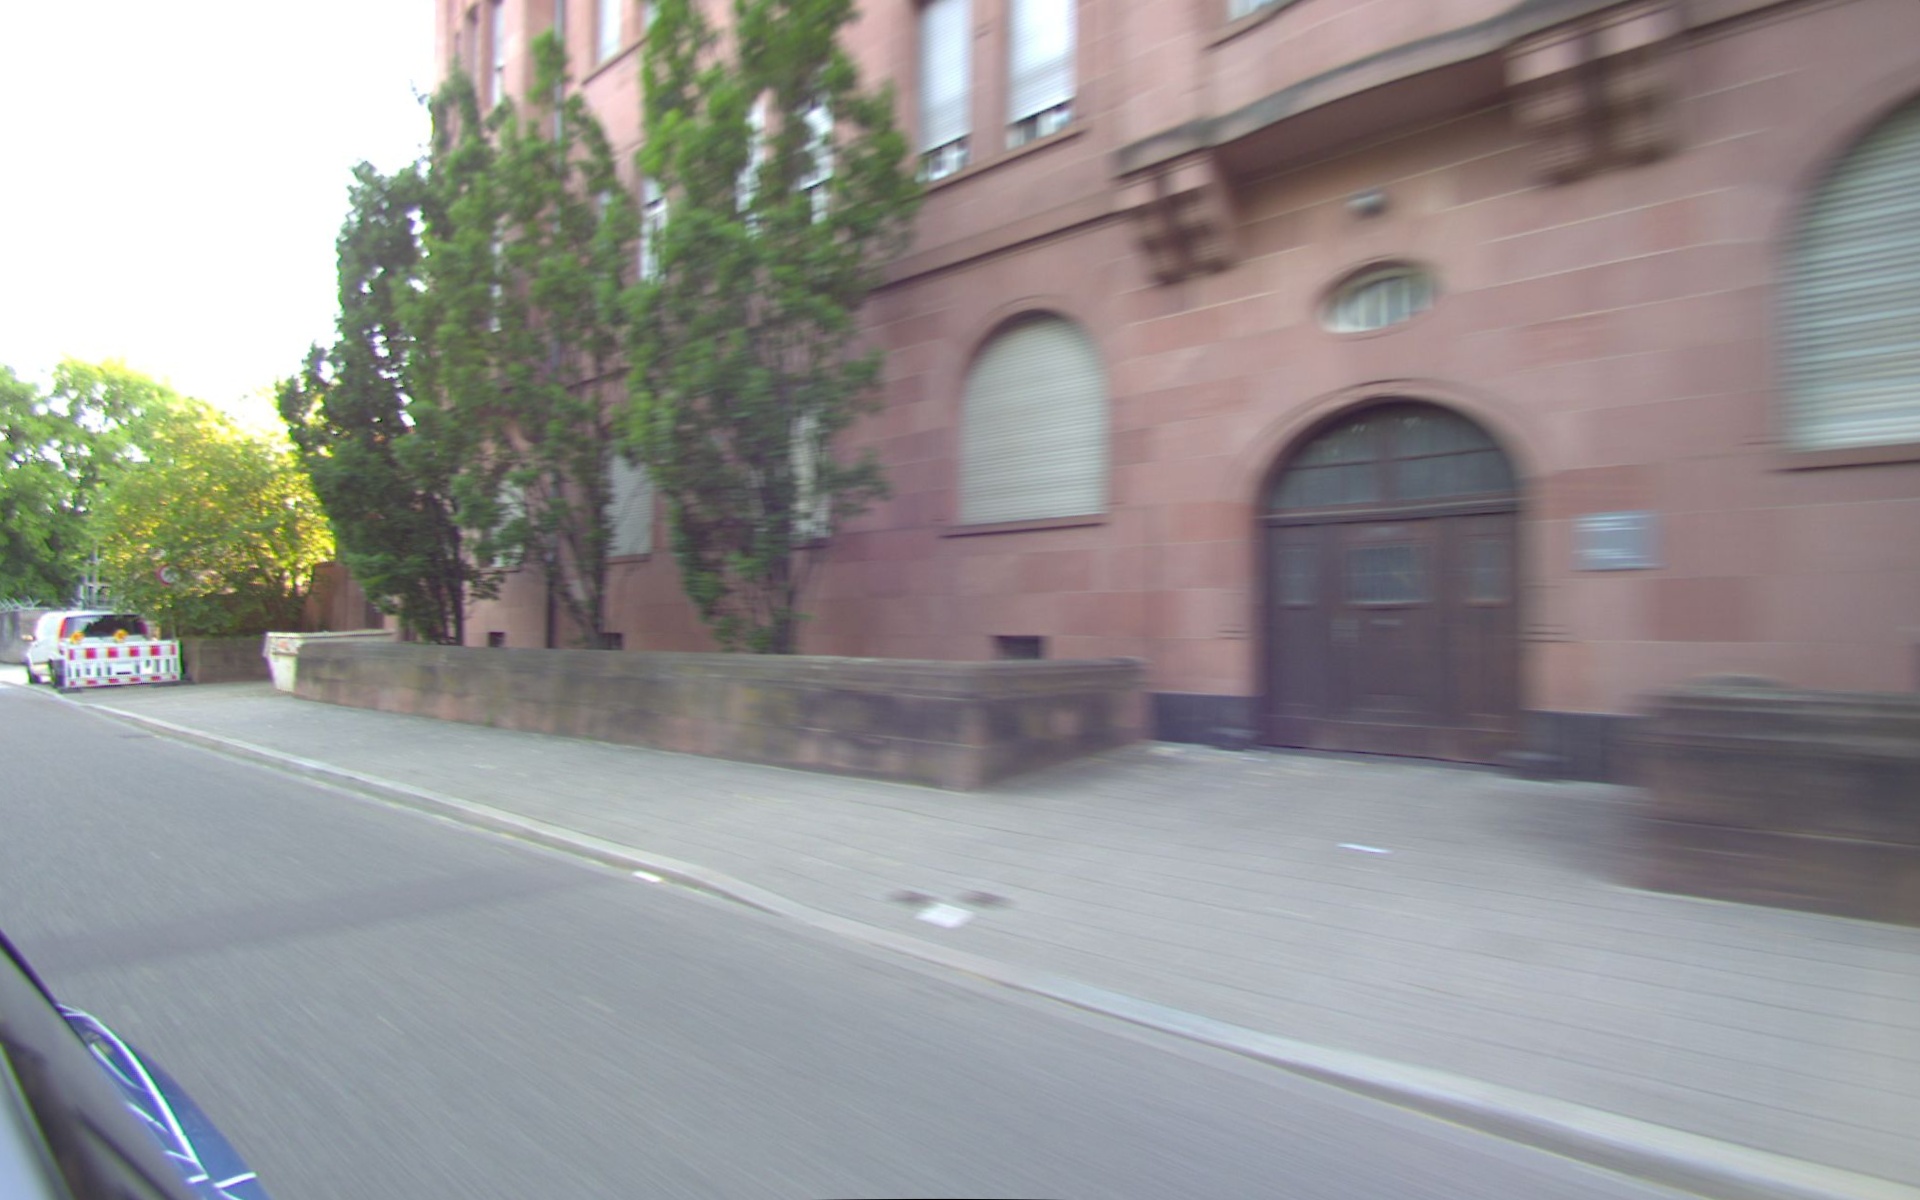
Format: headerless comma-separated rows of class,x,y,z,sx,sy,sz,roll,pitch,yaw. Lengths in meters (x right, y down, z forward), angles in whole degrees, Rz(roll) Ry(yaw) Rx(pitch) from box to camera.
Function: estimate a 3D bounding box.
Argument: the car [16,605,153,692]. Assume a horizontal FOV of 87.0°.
car,-22.891,1.194,26.376,5.221,2.029,1.864,-1,0,40
